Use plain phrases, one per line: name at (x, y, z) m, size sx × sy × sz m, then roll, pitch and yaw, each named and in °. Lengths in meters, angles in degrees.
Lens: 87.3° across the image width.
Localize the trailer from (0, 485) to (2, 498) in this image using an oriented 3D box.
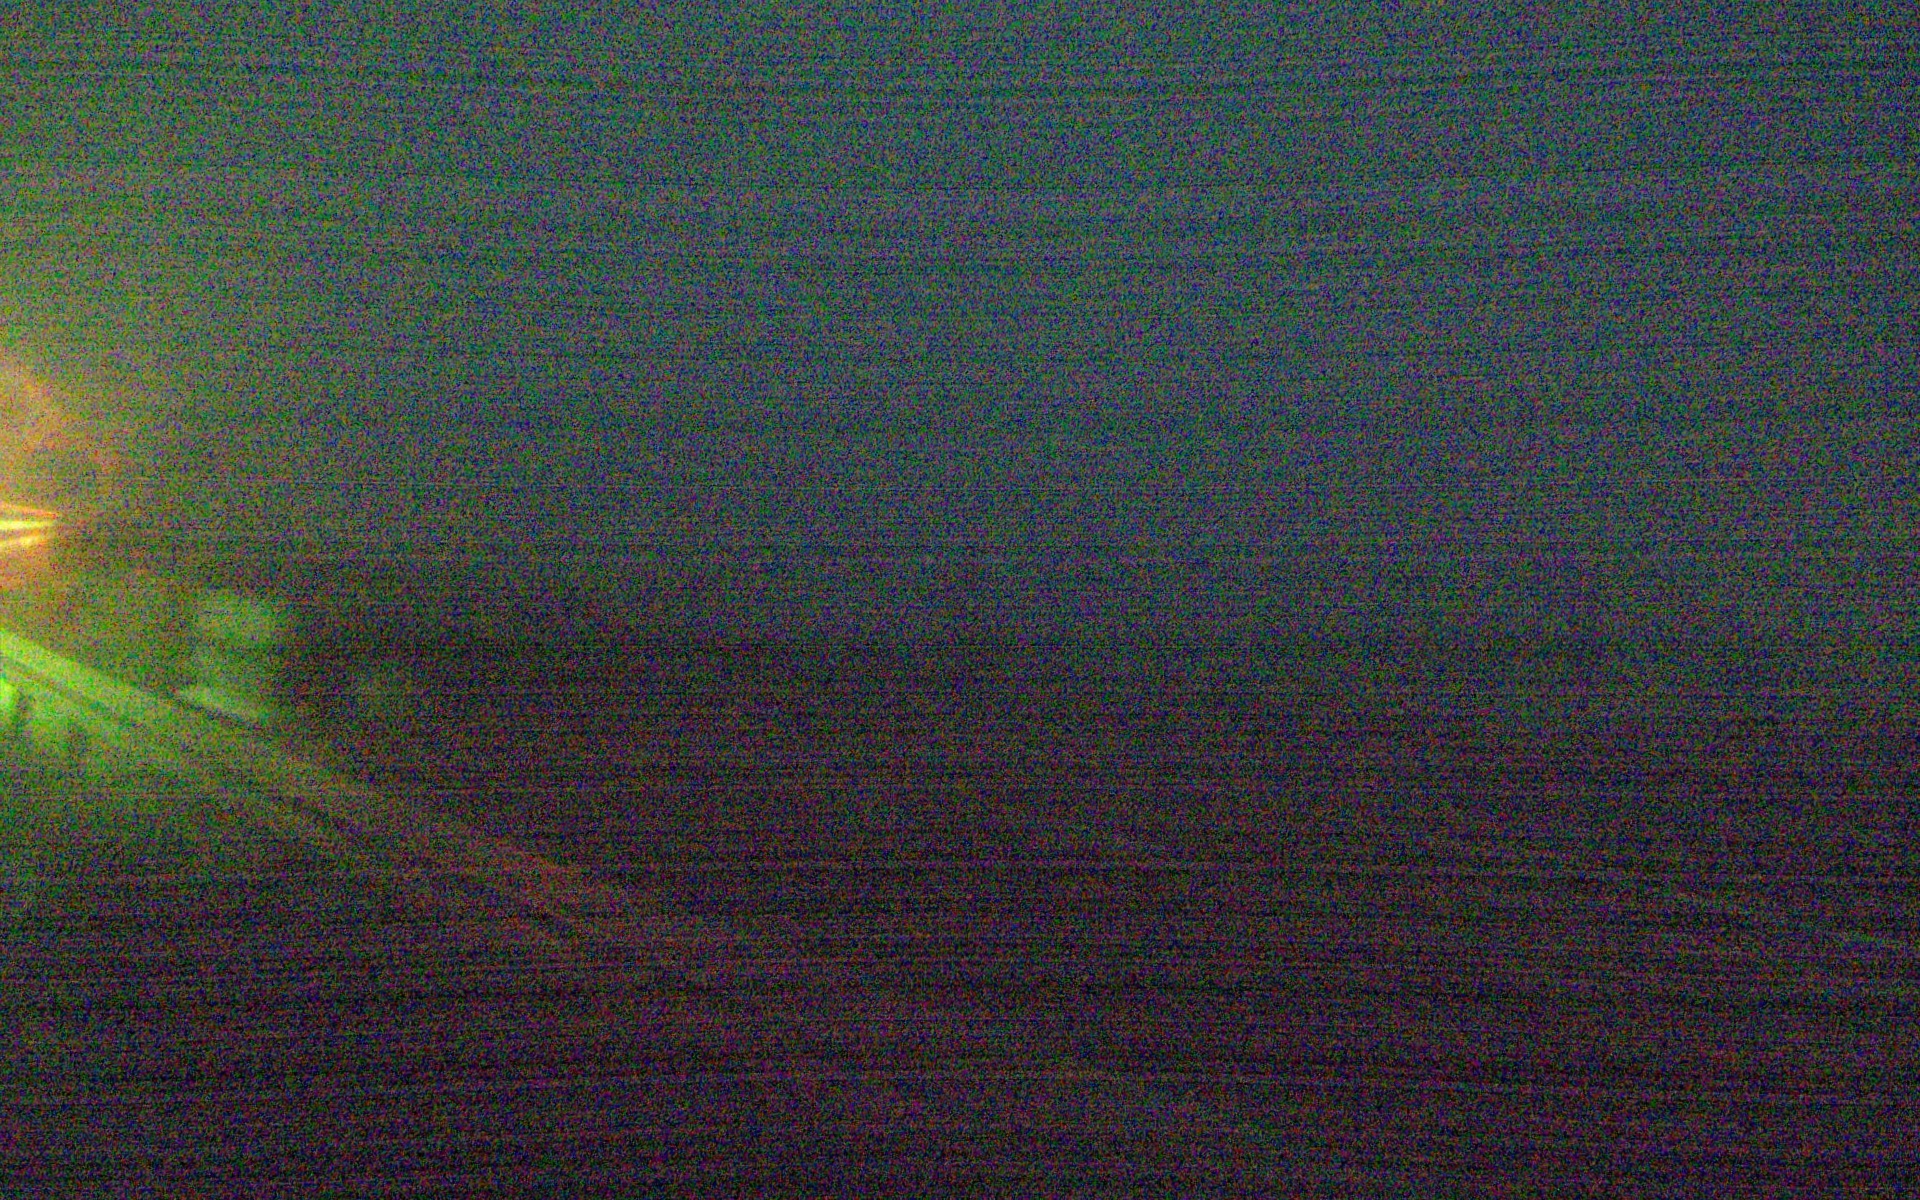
trailer at (-138.054, -15.289, 142.026) m, size 2.679 × 2.728 × 12.721 m, roll 12°, pitch -4°, yaw -39°
